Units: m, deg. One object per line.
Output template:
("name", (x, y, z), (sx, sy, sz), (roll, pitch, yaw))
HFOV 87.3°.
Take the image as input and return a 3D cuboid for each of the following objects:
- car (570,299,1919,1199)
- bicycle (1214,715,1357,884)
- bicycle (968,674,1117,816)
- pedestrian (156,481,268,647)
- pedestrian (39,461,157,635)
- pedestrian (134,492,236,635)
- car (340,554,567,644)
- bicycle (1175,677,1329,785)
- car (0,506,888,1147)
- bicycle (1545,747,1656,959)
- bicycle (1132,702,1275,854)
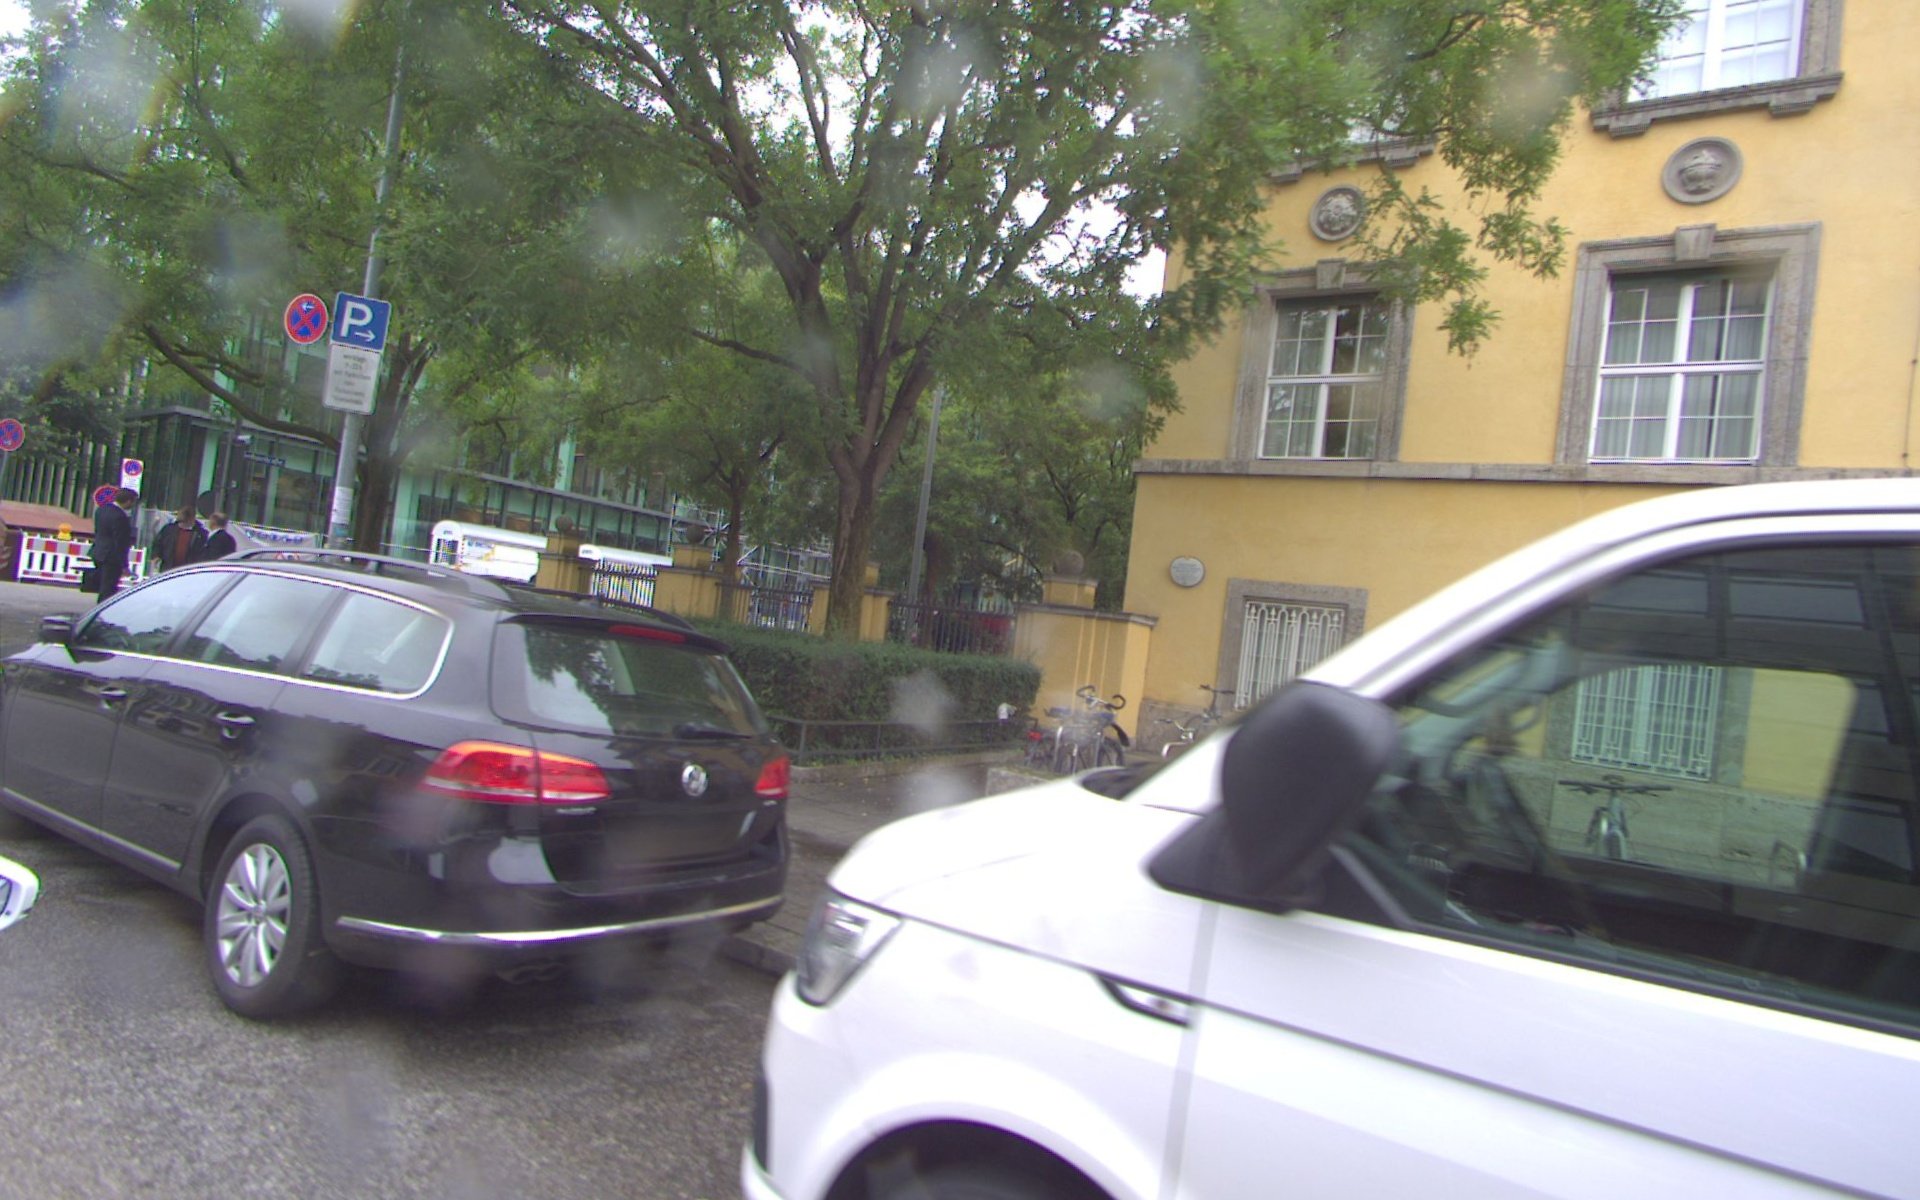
("car", (1.985, 0.844, 1.440), (5.185, 1.953, 1.851), (6, -4, 32))
("bicycle", (2.684, 1.539, 8.152), (0.464, 1.127, 1.933), (7, -1, 35))
("bicycle", (0.825, 1.291, 9.382), (0.463, 1.127, 2.035), (7, -1, 30))
("pedestrian", (-10.388, -0.491, 13.974), (1.038, 2.160, 0.743), (6, 0, 32))
("pedestrian", (-11.436, -0.686, 13.347), (1.038, 2.160, 0.743), (6, 0, 32))
("pedestrian", (-11.321, -0.515, 14.735), (0.735, 1.930, 1.051), (7, 0, -21))
("car", (-11.541, 0.030, 23.175), (1.841, 1.503, 4.206), (5, -3, 37))
("bicycle", (4.048, 1.798, 14.024), (1.870, 1.168, 0.543), (7, 0, 32))
("car", (-2.932, 0.568, 4.674), (4.890, 1.505, 1.777), (7, -4, 31))
("bicycle", (4.446, 1.650, 6.939), (0.464, 1.127, 1.933), (7, -1, 35))
("bicycle", (2.180, 1.487, 8.802), (0.464, 1.127, 1.933), (7, -1, 34))
